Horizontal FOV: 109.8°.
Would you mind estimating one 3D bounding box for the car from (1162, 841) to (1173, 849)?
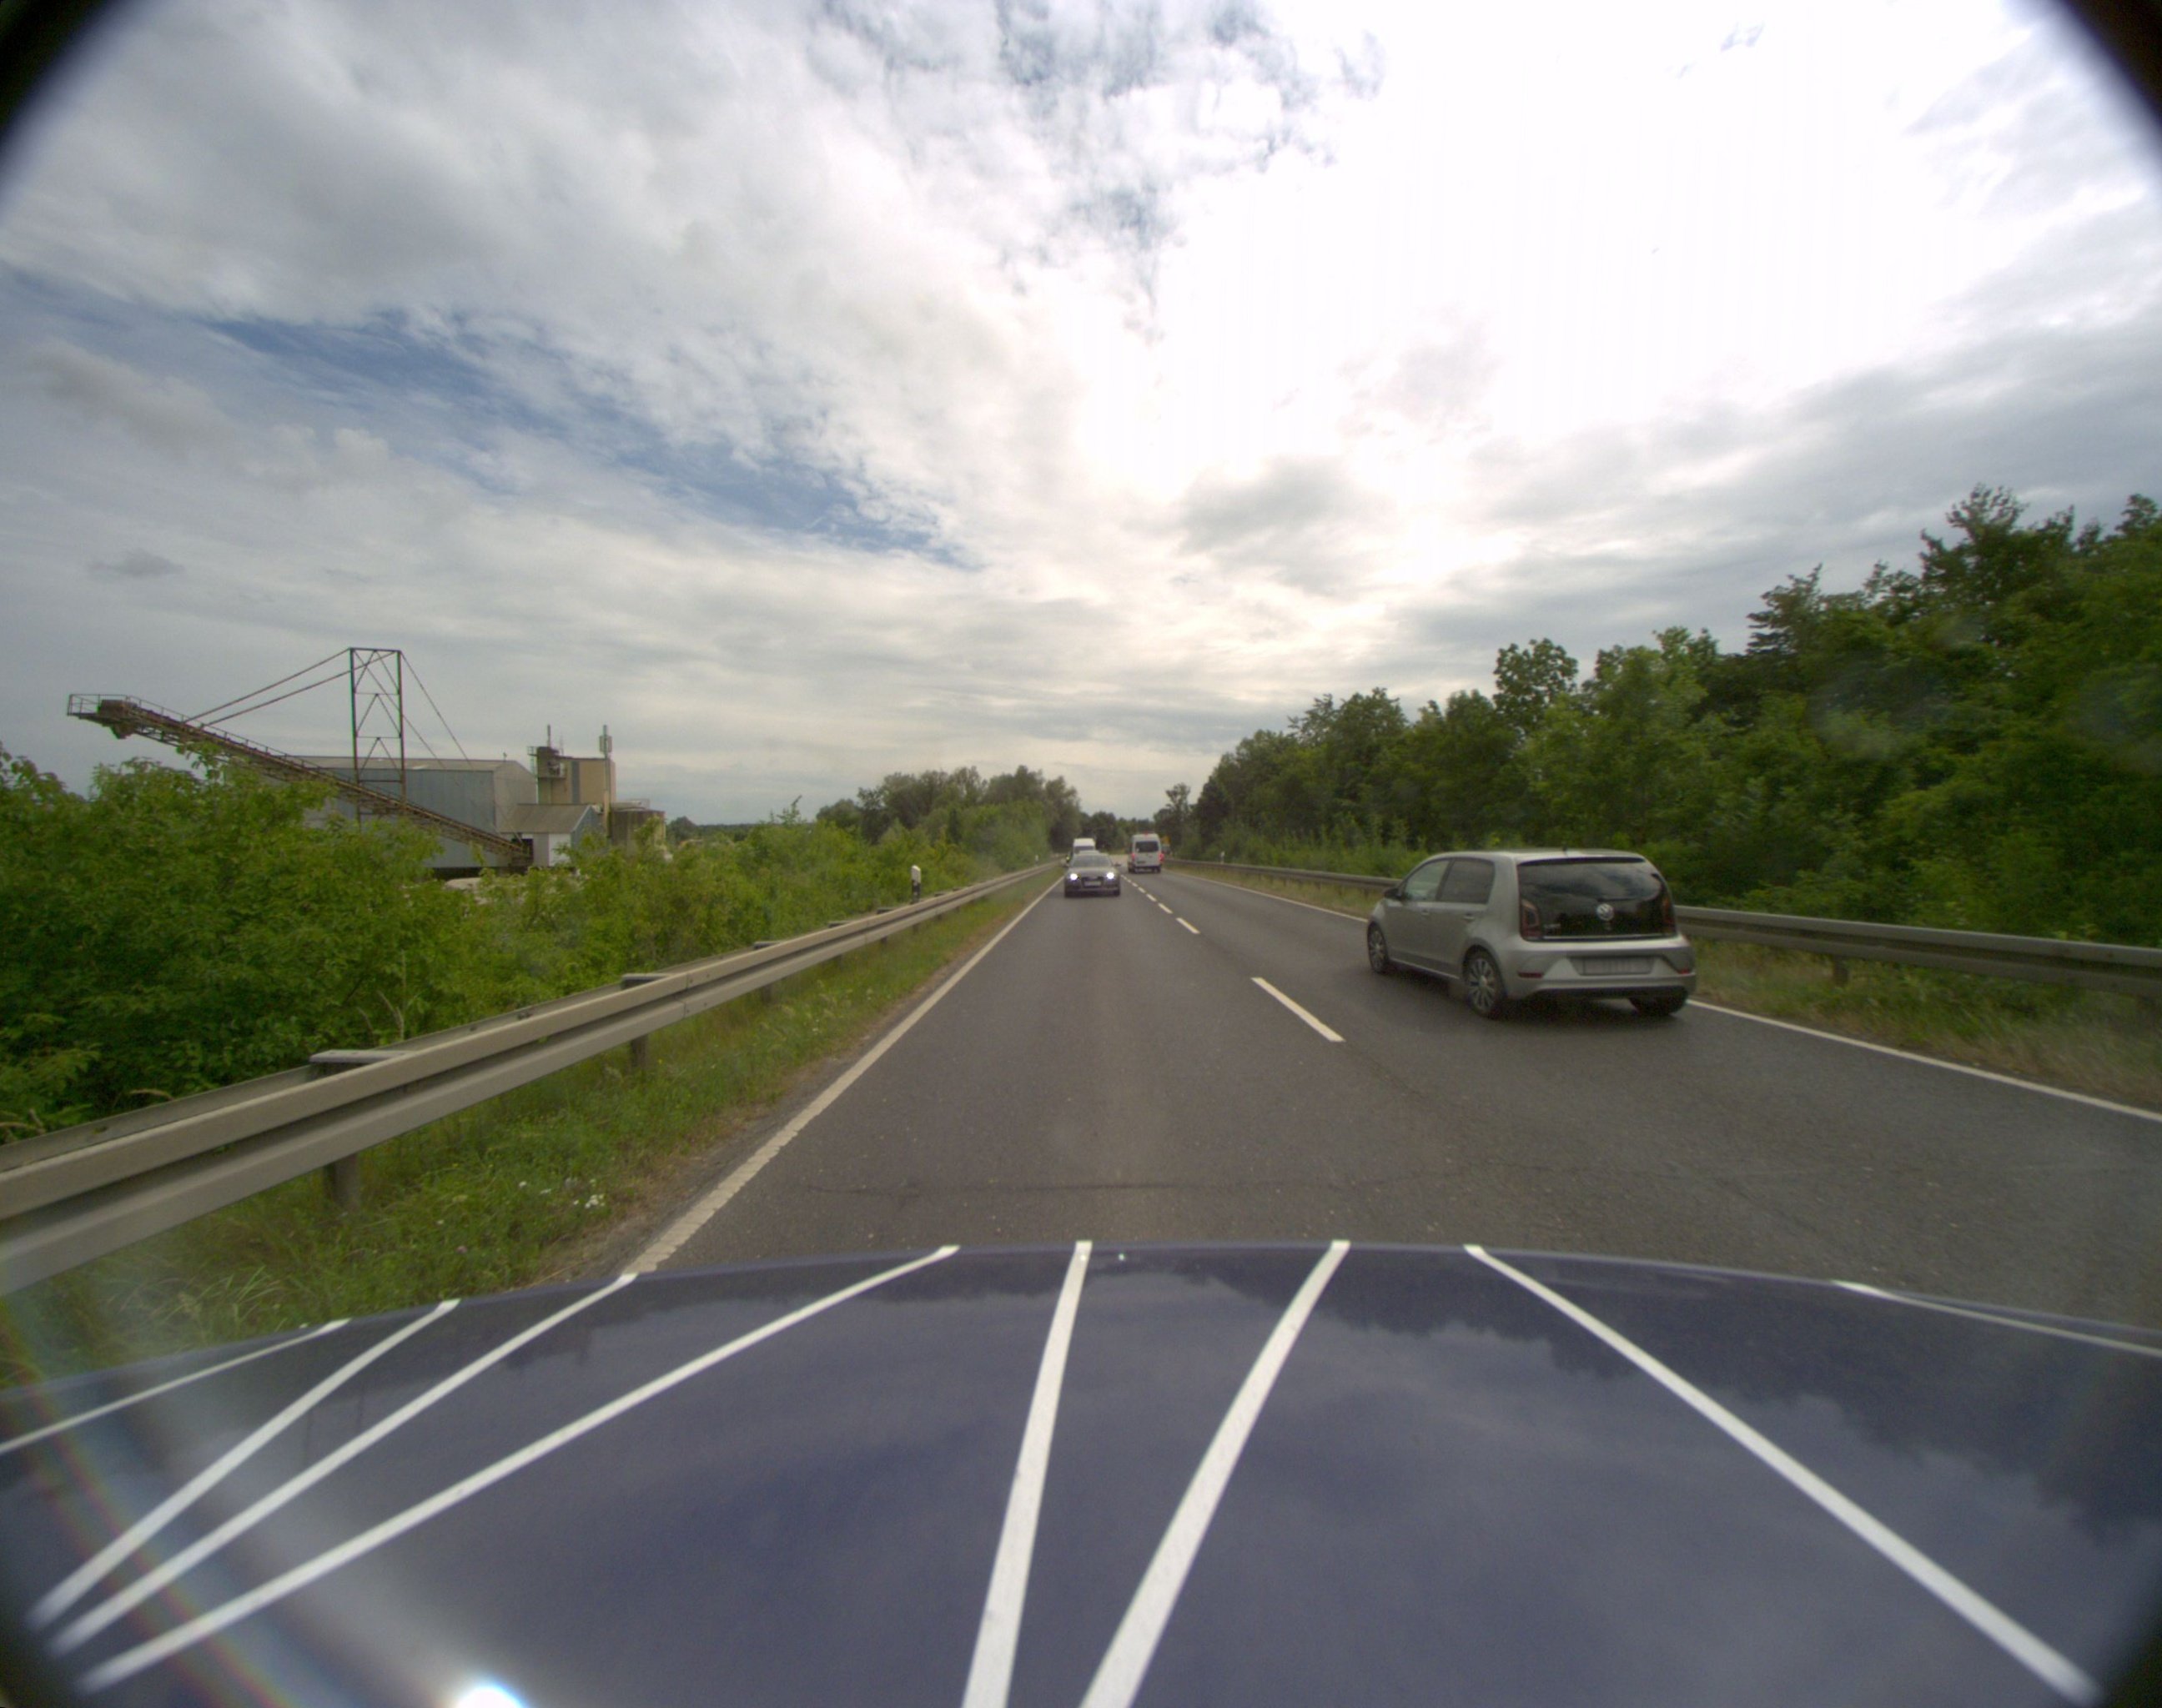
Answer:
[{"bbox_3d":[19.840,-2.027,174.689,1.922,1.826,4.003,2,2,13],"label":"car"}]

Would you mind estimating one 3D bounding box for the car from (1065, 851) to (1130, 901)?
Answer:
[{"bbox_3d":[0.487,0.679,25.970,1.965,1.447,4.795,-2,1,-1],"label":"car"}]

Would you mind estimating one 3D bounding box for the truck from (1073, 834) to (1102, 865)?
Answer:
[{"bbox_3d":[0.541,-0.495,67.446,2.379,2.579,5.997,1,2,0],"label":"truck"}]

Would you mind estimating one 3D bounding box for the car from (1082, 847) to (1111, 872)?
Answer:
[{"bbox_3d":[1.038,0.364,51.791,1.826,1.489,4.223,3,1,0],"label":"car"}]

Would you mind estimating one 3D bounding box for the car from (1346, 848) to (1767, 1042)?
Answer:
[{"bbox_3d":[4.303,0.679,7.771,1.840,1.436,3.999,-1,1,1],"label":"car"}]

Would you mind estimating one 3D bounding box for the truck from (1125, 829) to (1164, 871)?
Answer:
[{"bbox_3d":[4.365,-0.306,53.448,2.070,2.727,7.005,-1,1,-1],"label":"truck"}]
